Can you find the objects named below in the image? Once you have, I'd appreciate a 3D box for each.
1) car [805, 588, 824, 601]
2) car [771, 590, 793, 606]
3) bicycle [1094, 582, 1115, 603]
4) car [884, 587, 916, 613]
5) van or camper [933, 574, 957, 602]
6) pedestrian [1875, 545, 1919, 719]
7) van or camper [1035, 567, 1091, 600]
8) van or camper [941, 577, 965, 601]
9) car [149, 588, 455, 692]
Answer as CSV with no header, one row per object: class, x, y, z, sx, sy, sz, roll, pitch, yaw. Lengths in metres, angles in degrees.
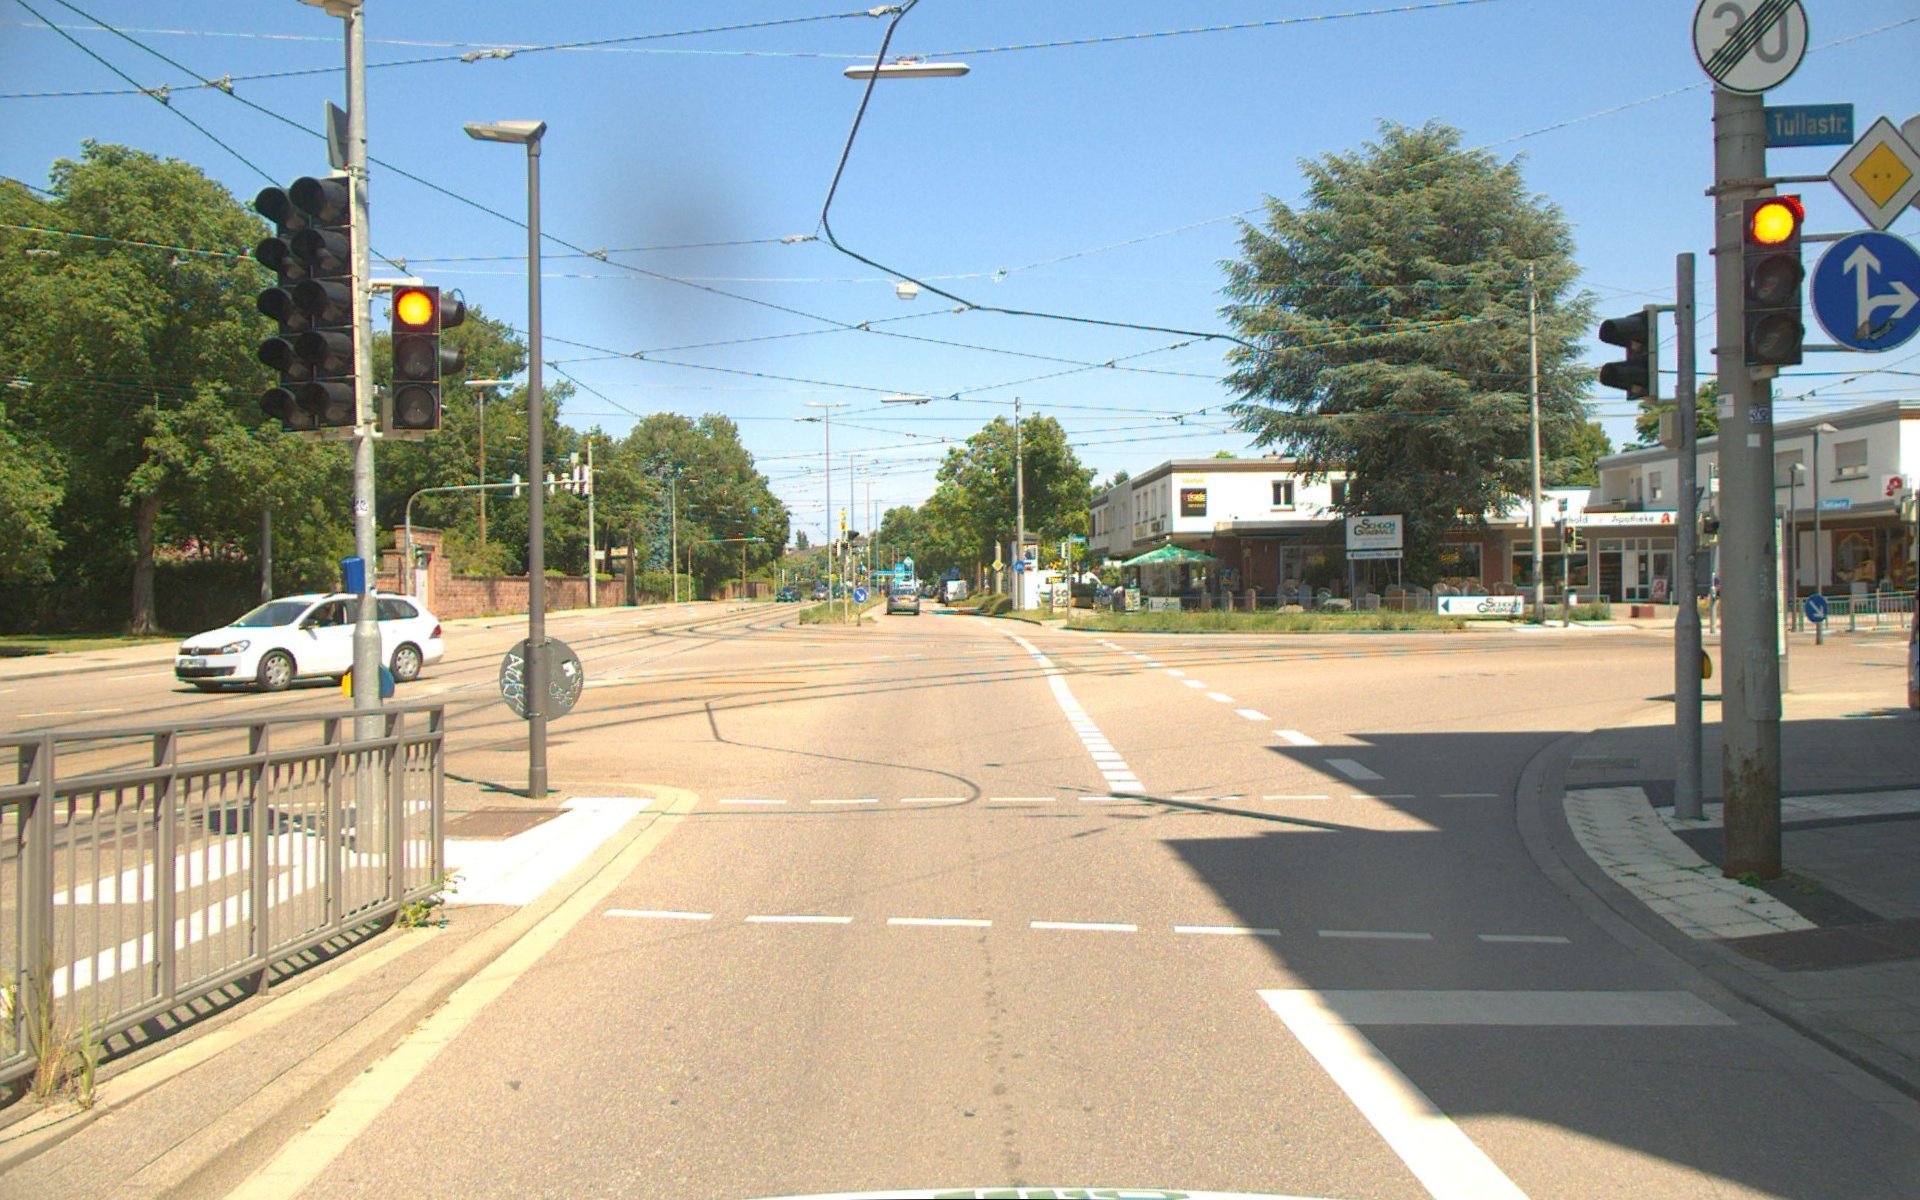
car,-15.899,-0.618,181.249,1.607,1.445,4.168,-1,0,1
car,-18.278,-0.222,170.204,1.783,1.631,4.519,-1,0,-1
bicycle,7.391,-0.384,84.613,1.012,1.032,2.639,-1,0,5
car,-3.316,0.008,90.489,1.604,1.375,3.838,-1,0,-4
van or camper,-1.385,-1.094,152.829,1.954,2.507,3.997,-1,0,-4
pedestrian,9.326,0.274,15.635,0.809,1.611,0.827,-4,0,5
van or camper,8.936,-1.431,143.544,4.662,2.717,2.134,-1,0,-3
van or camper,-0.567,-0.865,130.373,1.883,1.803,3.999,-1,0,-1
car,-10.539,0.584,26.843,1.784,1.516,4.491,0,0,30
